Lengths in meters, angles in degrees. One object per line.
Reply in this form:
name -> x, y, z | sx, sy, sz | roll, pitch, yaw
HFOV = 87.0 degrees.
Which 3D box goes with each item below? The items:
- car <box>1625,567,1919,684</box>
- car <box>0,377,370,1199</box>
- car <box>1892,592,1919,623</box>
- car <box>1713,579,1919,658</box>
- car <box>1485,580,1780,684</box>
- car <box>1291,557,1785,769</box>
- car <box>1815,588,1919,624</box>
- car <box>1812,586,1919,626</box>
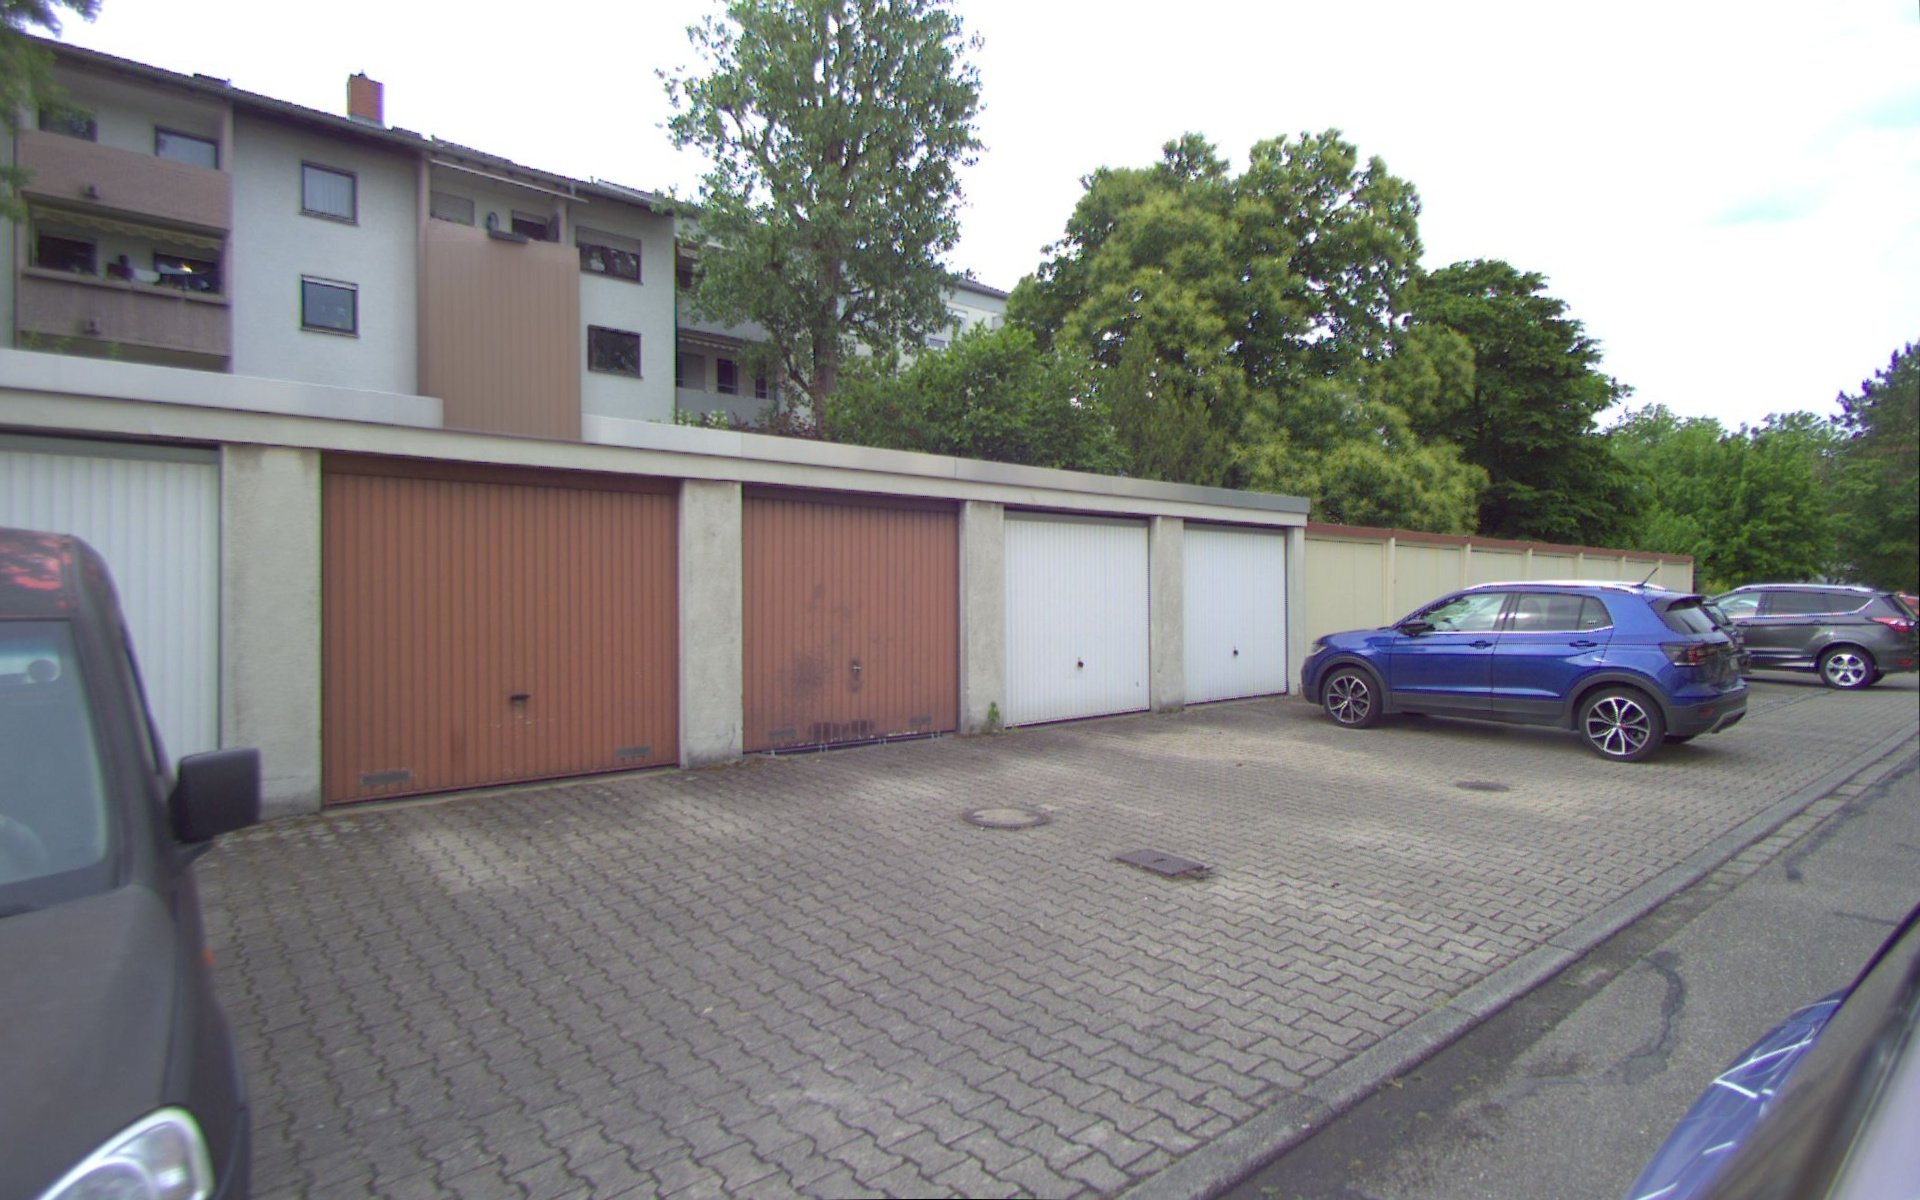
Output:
car -> 14.442, 0.349, 17.783 | 1.965, 1.749, 4.204 | 0, 2, -40
car -> -3.042, 0.549, 2.543 | 1.965, 1.824, 4.320 | 0, 2, -40
car -> 47.708, 0.371, 48.690 | 1.756, 1.504, 4.100 | 0, 1, -41
car -> 20.341, 0.375, 23.472 | 1.901, 1.605, 4.297 | 0, 2, -41
car -> 11.312, 0.451, 17.202 | 1.965, 1.463, 3.765 | 0, 2, -40
car -> 5.773, 0.453, 10.491 | 1.965, 1.724, 3.995 | 0, 2, -40
car -> 44.365, 0.288, 49.111 | 1.756, 1.503, 4.104 | 0, 3, -40
car -> 38.908, 0.255, 42.624 | 1.756, 1.503, 4.335 | 0, 3, -40
